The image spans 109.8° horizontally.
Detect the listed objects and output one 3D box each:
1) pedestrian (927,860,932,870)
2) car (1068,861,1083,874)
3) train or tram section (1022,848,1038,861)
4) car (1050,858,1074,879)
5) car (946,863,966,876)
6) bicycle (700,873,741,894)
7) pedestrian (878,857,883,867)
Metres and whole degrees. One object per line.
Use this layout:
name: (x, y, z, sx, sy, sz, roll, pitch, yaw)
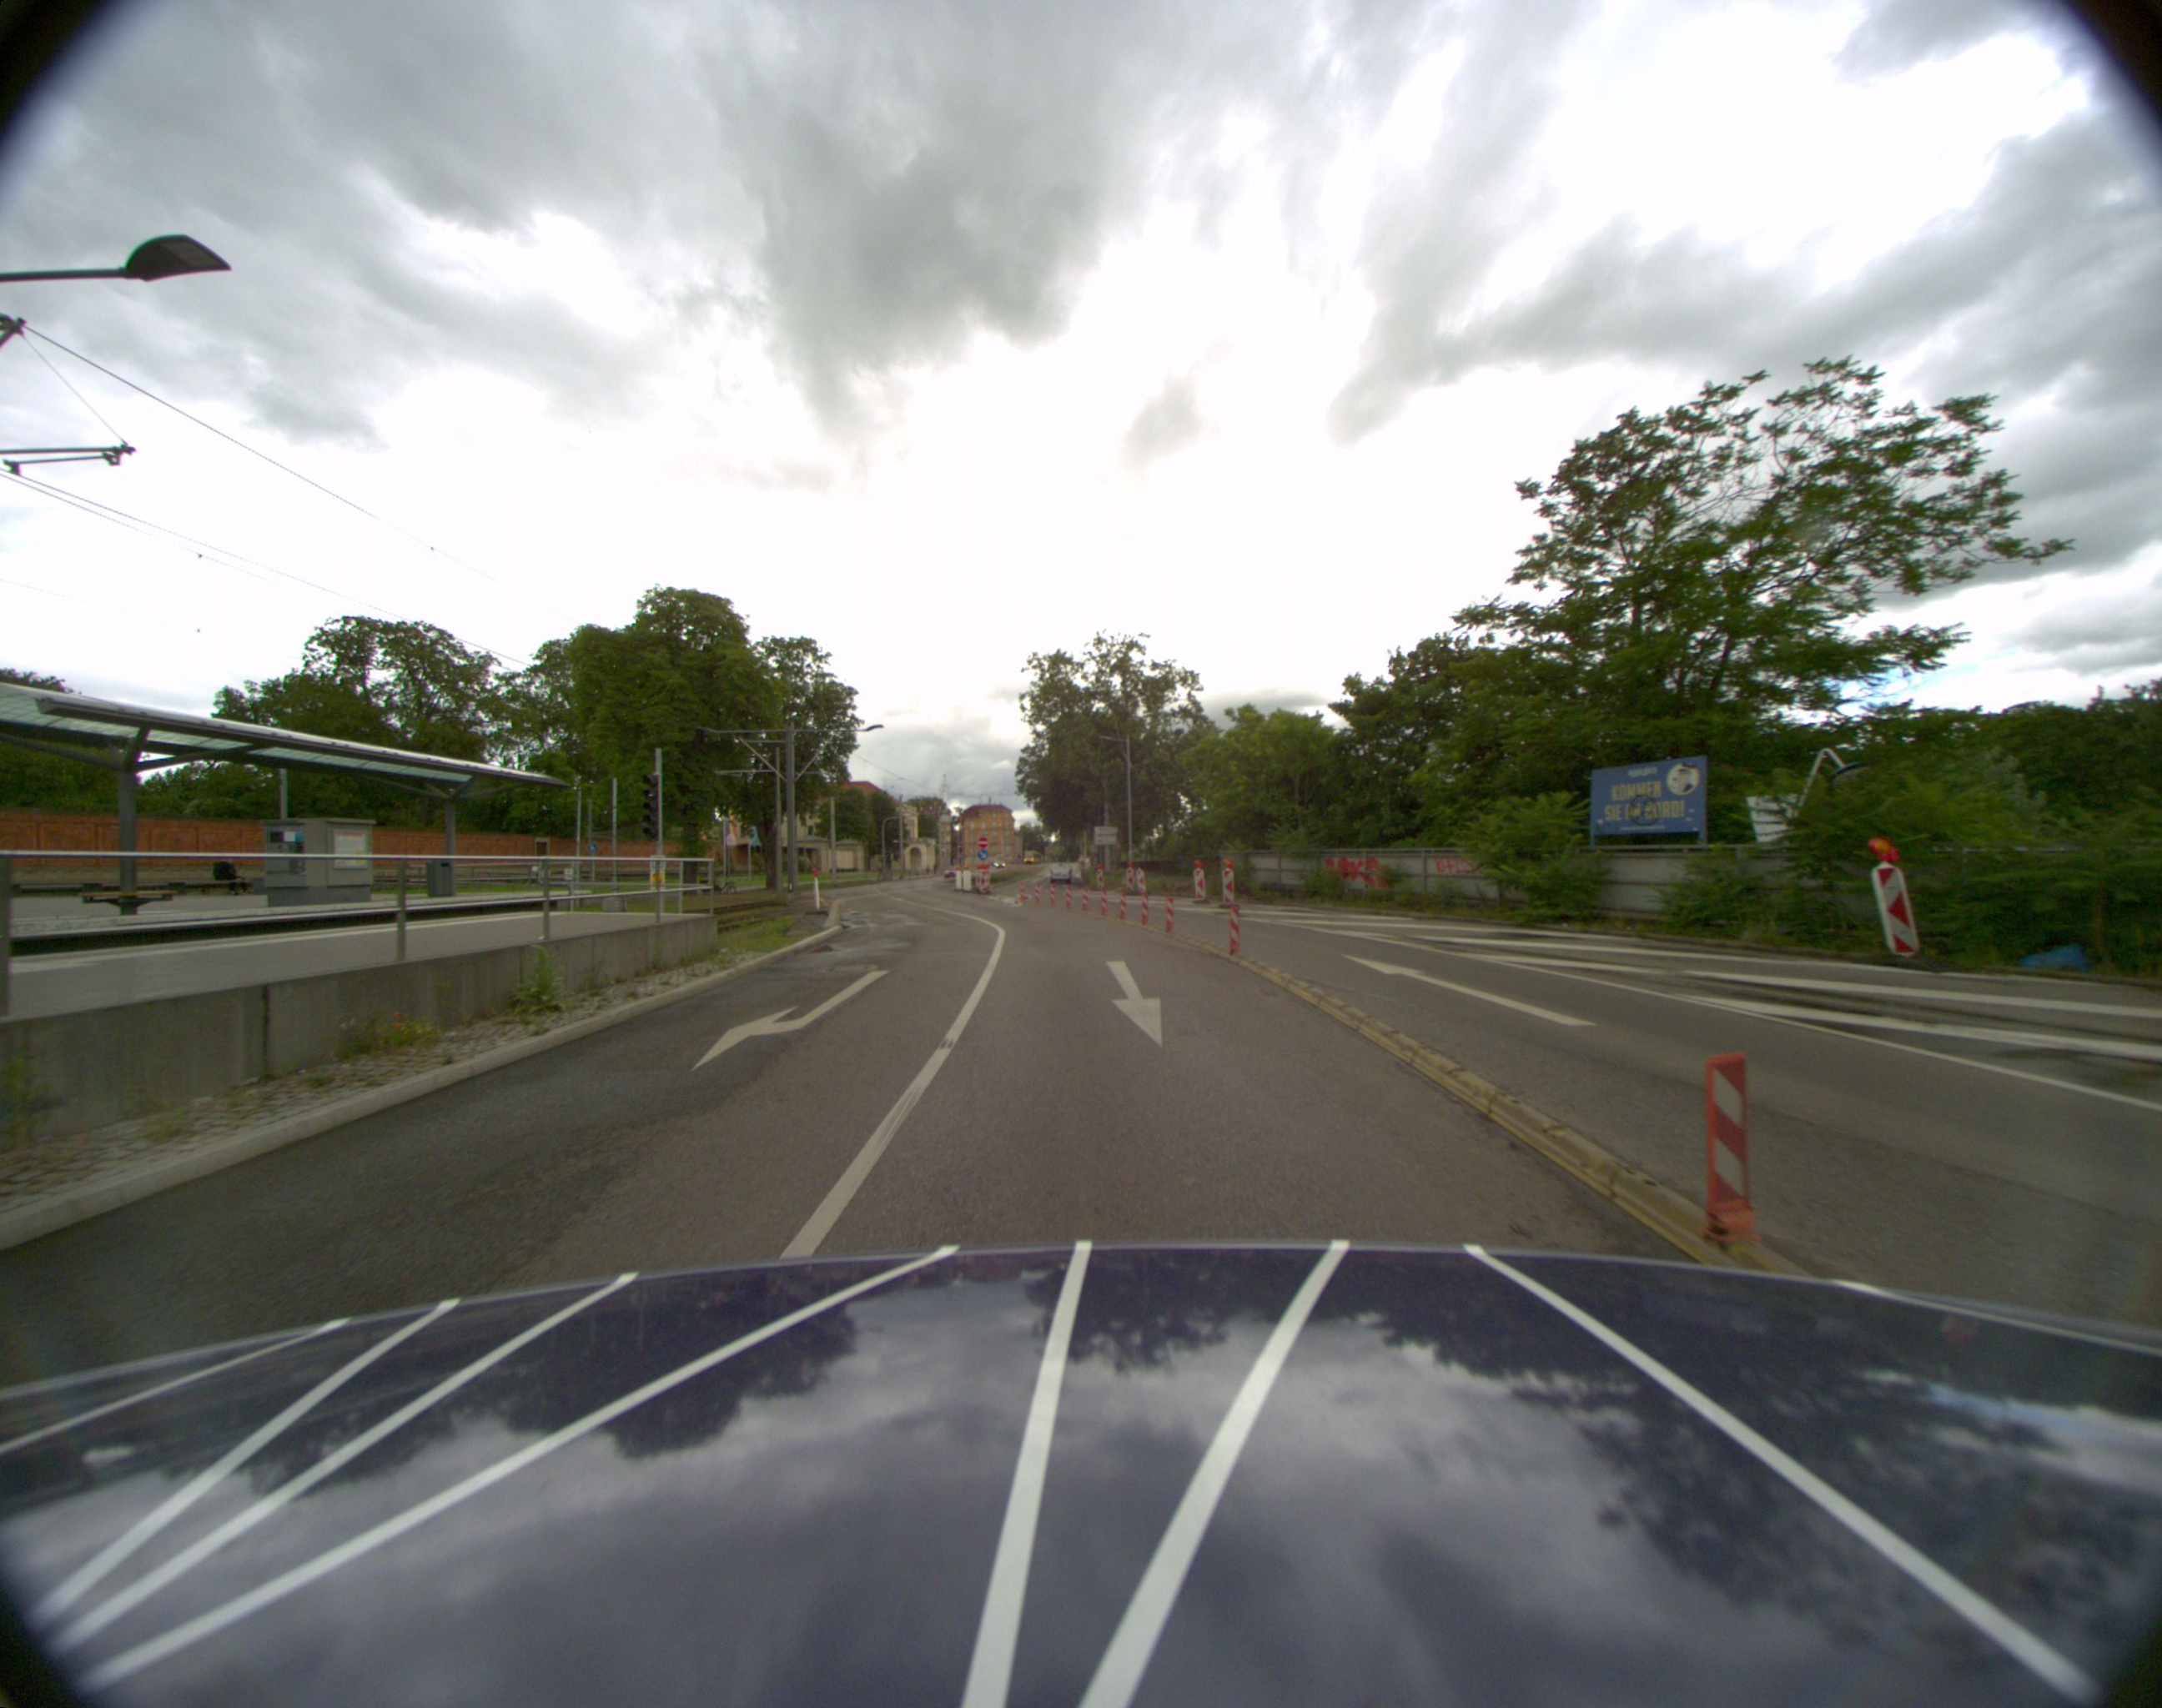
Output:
pedestrian: (-24.964, 1.819, 125.024, 0.672, 1.757, 0.936, -1, 0, -1)
car: (-0.696, 1.656, 92.944, 1.699, 1.452, 3.912, 0, -2, -4)
train or tram section: (-14.007, 0.137, 210.100, 3.740, 3.346, 17.551, 0, 0, -2)
car: (-1.800, 1.315, 68.977, 1.869, 1.772, 4.746, -2, 0, -5)
car: (-14.818, 1.778, 90.256, 1.681, 1.433, 4.119, -3, 0, -1)
bicycle: (-20.361, 1.680, 42.944, 1.996, 1.151, 0.741, -1, 0, 4)
pedestrian: (-33.786, 1.373, 127.964, 0.596, 1.782, 0.808, -1, 0, -1)
